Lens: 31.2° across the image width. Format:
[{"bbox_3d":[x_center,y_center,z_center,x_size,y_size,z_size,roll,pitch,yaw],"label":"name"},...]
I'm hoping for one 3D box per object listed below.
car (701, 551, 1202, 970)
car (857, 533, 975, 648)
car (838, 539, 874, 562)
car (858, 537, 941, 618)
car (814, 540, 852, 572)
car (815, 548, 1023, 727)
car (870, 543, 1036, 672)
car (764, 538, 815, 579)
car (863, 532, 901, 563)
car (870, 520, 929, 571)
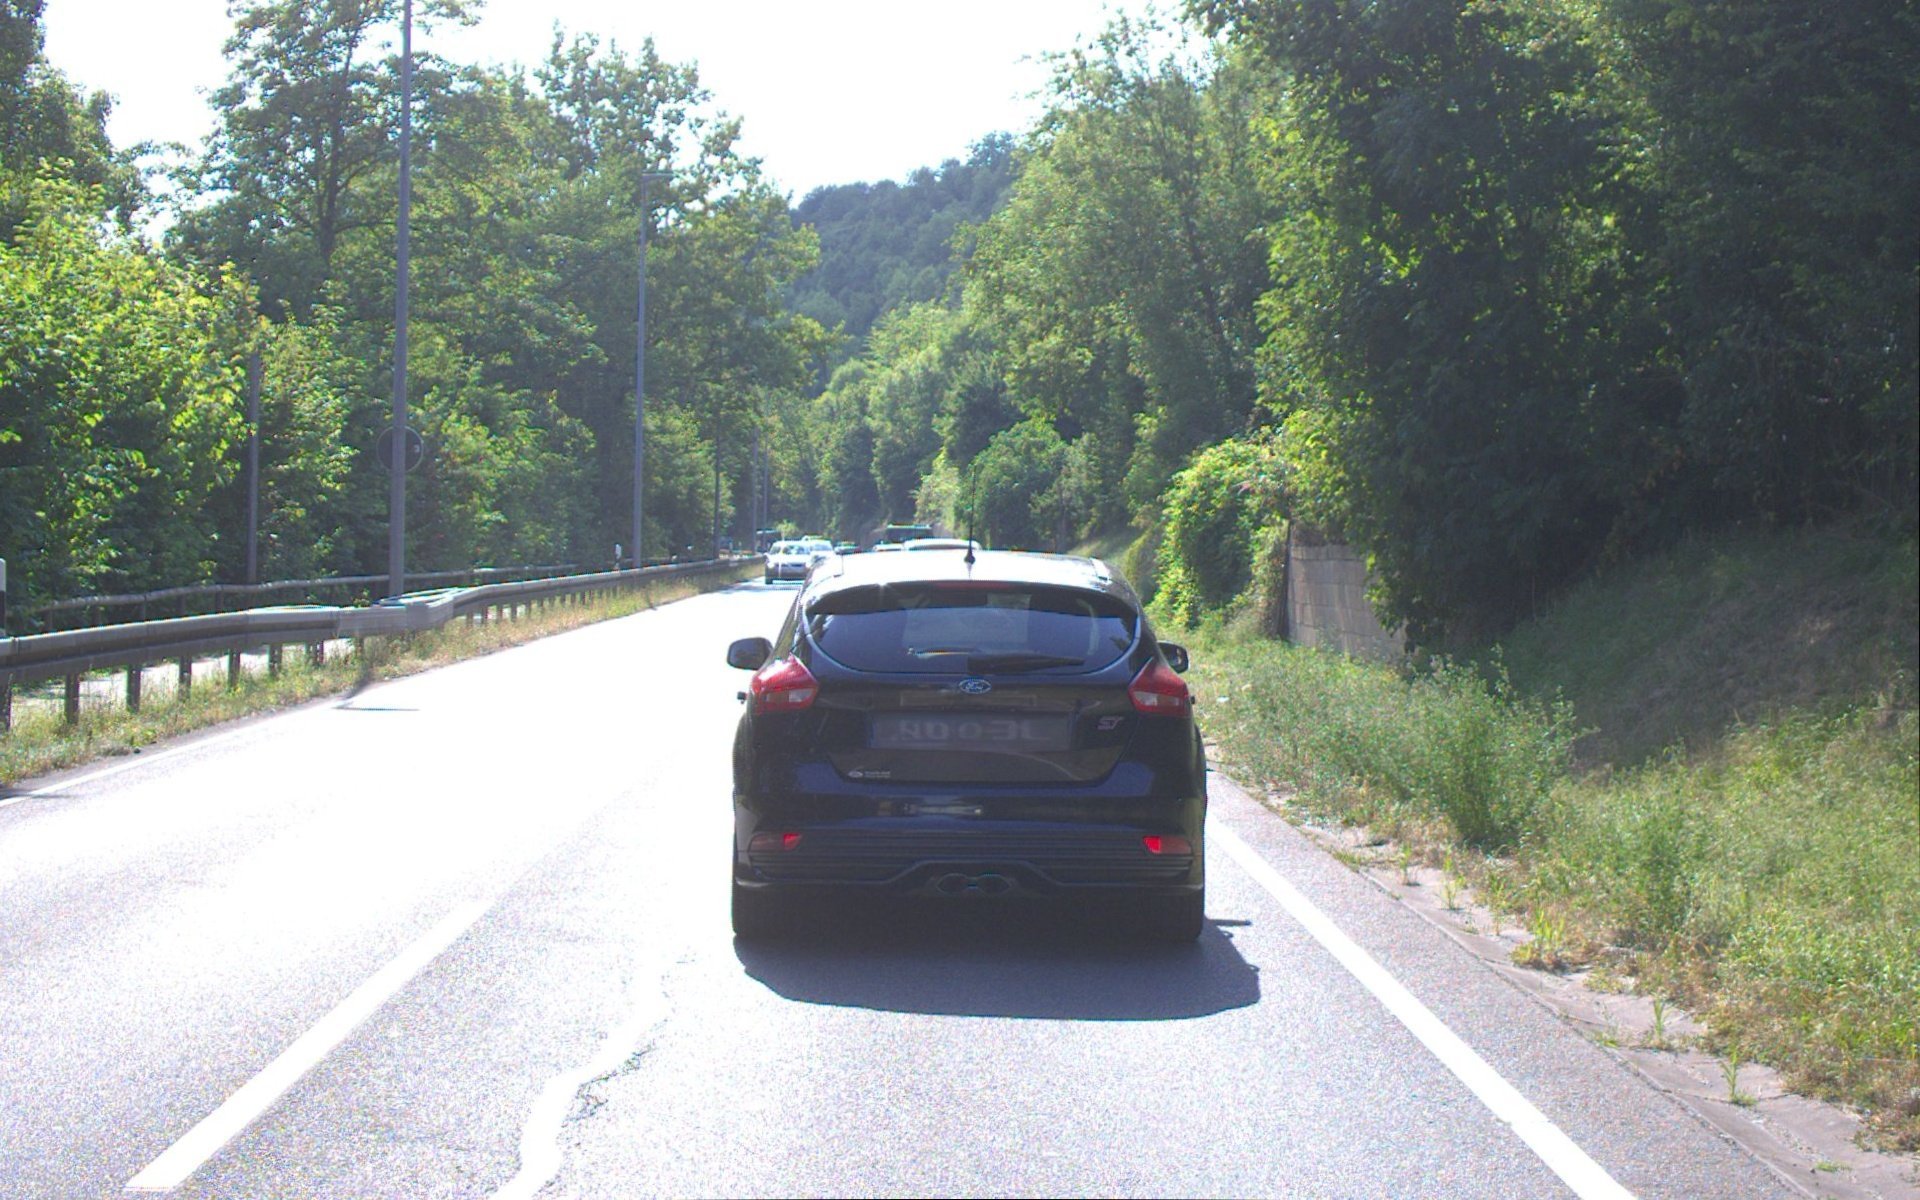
[{"bbox_3d":[-0.046,0.535,14.025,1.739,1.451,4.000,0,1,0],"label":"car"},{"bbox_3d":[-0.633,-0.172,49.691,1.631,1.590,4.000,0,1,0],"label":"car"},{"bbox_3d":[-6.814,-3.241,224.780,1.993,1.514,4.001,0,1,-8],"label":"car"},{"bbox_3d":[-1.205,-0.477,69.857,1.631,1.590,4.000,0,1,0],"label":"car"},{"bbox_3d":[-5.881,-2.060,159.443,1.681,1.458,4.198,1,1,-1],"label":"car"},{"bbox_3d":[-0.297,0.268,29.507,1.661,1.413,4.000,0,1,1],"label":"car"},{"bbox_3d":[-0.091,0.053,39.388,1.804,1.387,4.000,0,1,0],"label":"car"},{"bbox_3d":[-5.864,-1.450,118.558,1.623,1.372,4.048,-1,1,-1],"label":"car"},{"bbox_3d":[-3.825,-2.582,169.441,1.819,1.514,4.000,0,1,0],"label":"car"},{"bbox_3d":[-2.166,-1.933,122.114,1.863,1.774,4.001,0,1,-4],"label":"car"}]
